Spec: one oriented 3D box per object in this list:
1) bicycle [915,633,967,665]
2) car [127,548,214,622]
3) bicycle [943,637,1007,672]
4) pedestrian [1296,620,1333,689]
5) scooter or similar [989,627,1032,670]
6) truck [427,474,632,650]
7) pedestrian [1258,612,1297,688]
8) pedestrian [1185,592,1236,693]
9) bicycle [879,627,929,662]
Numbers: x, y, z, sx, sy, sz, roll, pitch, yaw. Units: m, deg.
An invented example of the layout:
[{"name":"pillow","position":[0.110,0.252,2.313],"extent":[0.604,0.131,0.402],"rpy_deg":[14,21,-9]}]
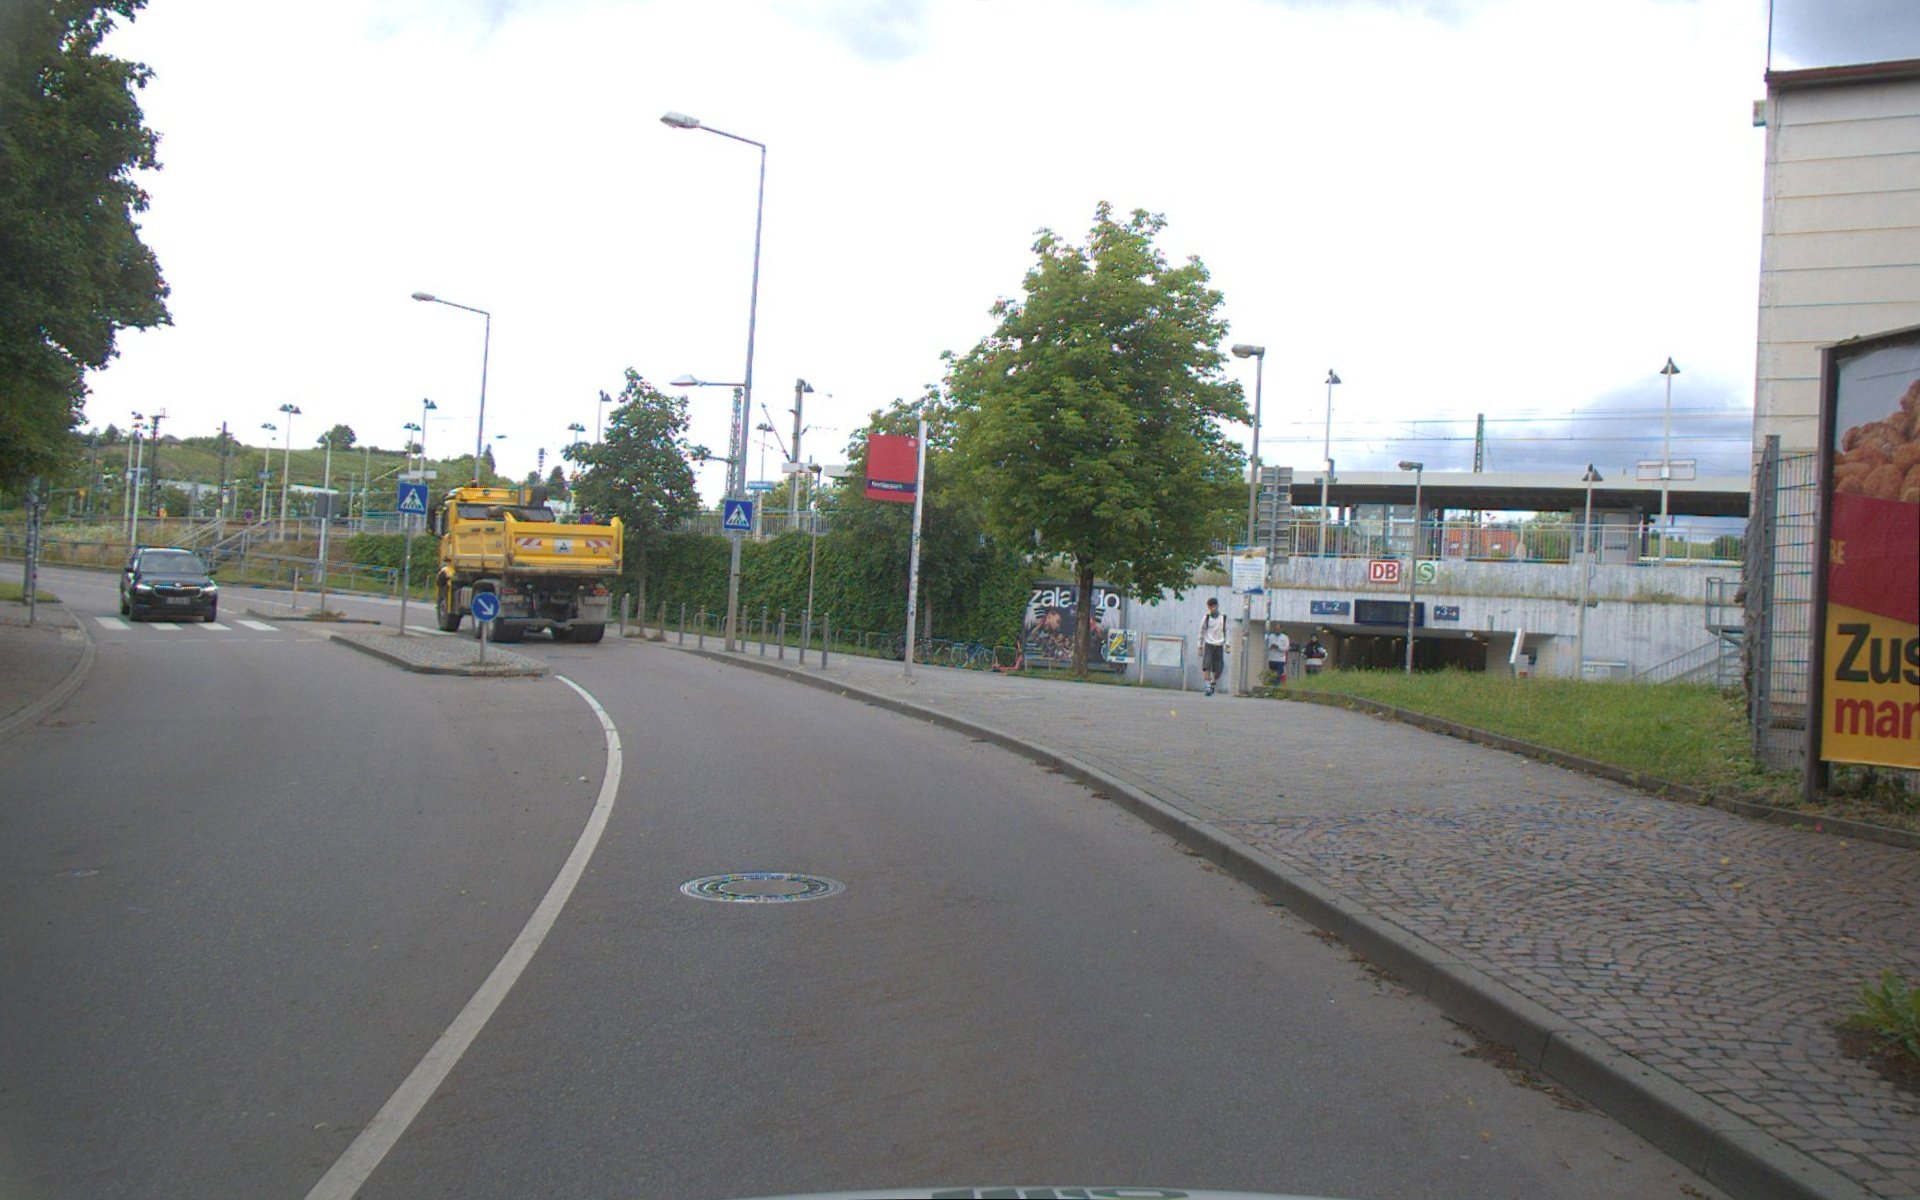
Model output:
[{"name":"bicycle","position":[-0.609,1.602,53.707],"extent":[1.554,0.869,0.460],"rpy_deg":[7,-2,-23]},{"name":"car","position":[-18.635,-0.382,39.057],"extent":[1.780,1.638,4.142],"rpy_deg":[0,1,-26]},{"name":"bicycle","position":[0.488,1.743,52.931],"extent":[1.942,0.880,0.507],"rpy_deg":[8,-2,-27]},{"name":"pedestrian","position":[8.515,1.311,39.721],"extent":[0.782,1.611,0.802],"rpy_deg":[2,-2,13]},{"name":"scooter or similar","position":[1.596,1.524,51.864],"extent":[1.171,1.227,0.465],"rpy_deg":[6,-2,-23]},{"name":"truck","position":[-10.191,-0.967,38.484],"extent":[2.733,3.543,8.058],"rpy_deg":[4,1,-27]},{"name":"pedestrian","position":[7.433,1.176,38.704],"extent":[0.797,1.732,0.749],"rpy_deg":[2,-2,13]},{"name":"pedestrian","position":[4.427,0.754,29.162],"extent":[0.830,1.714,0.941],"rpy_deg":[2,-2,9]},{"name":"bicycle","position":[-1.831,1.441,53.953],"extent":[1.460,1.006,0.693],"rpy_deg":[6,-1,-9]}]
